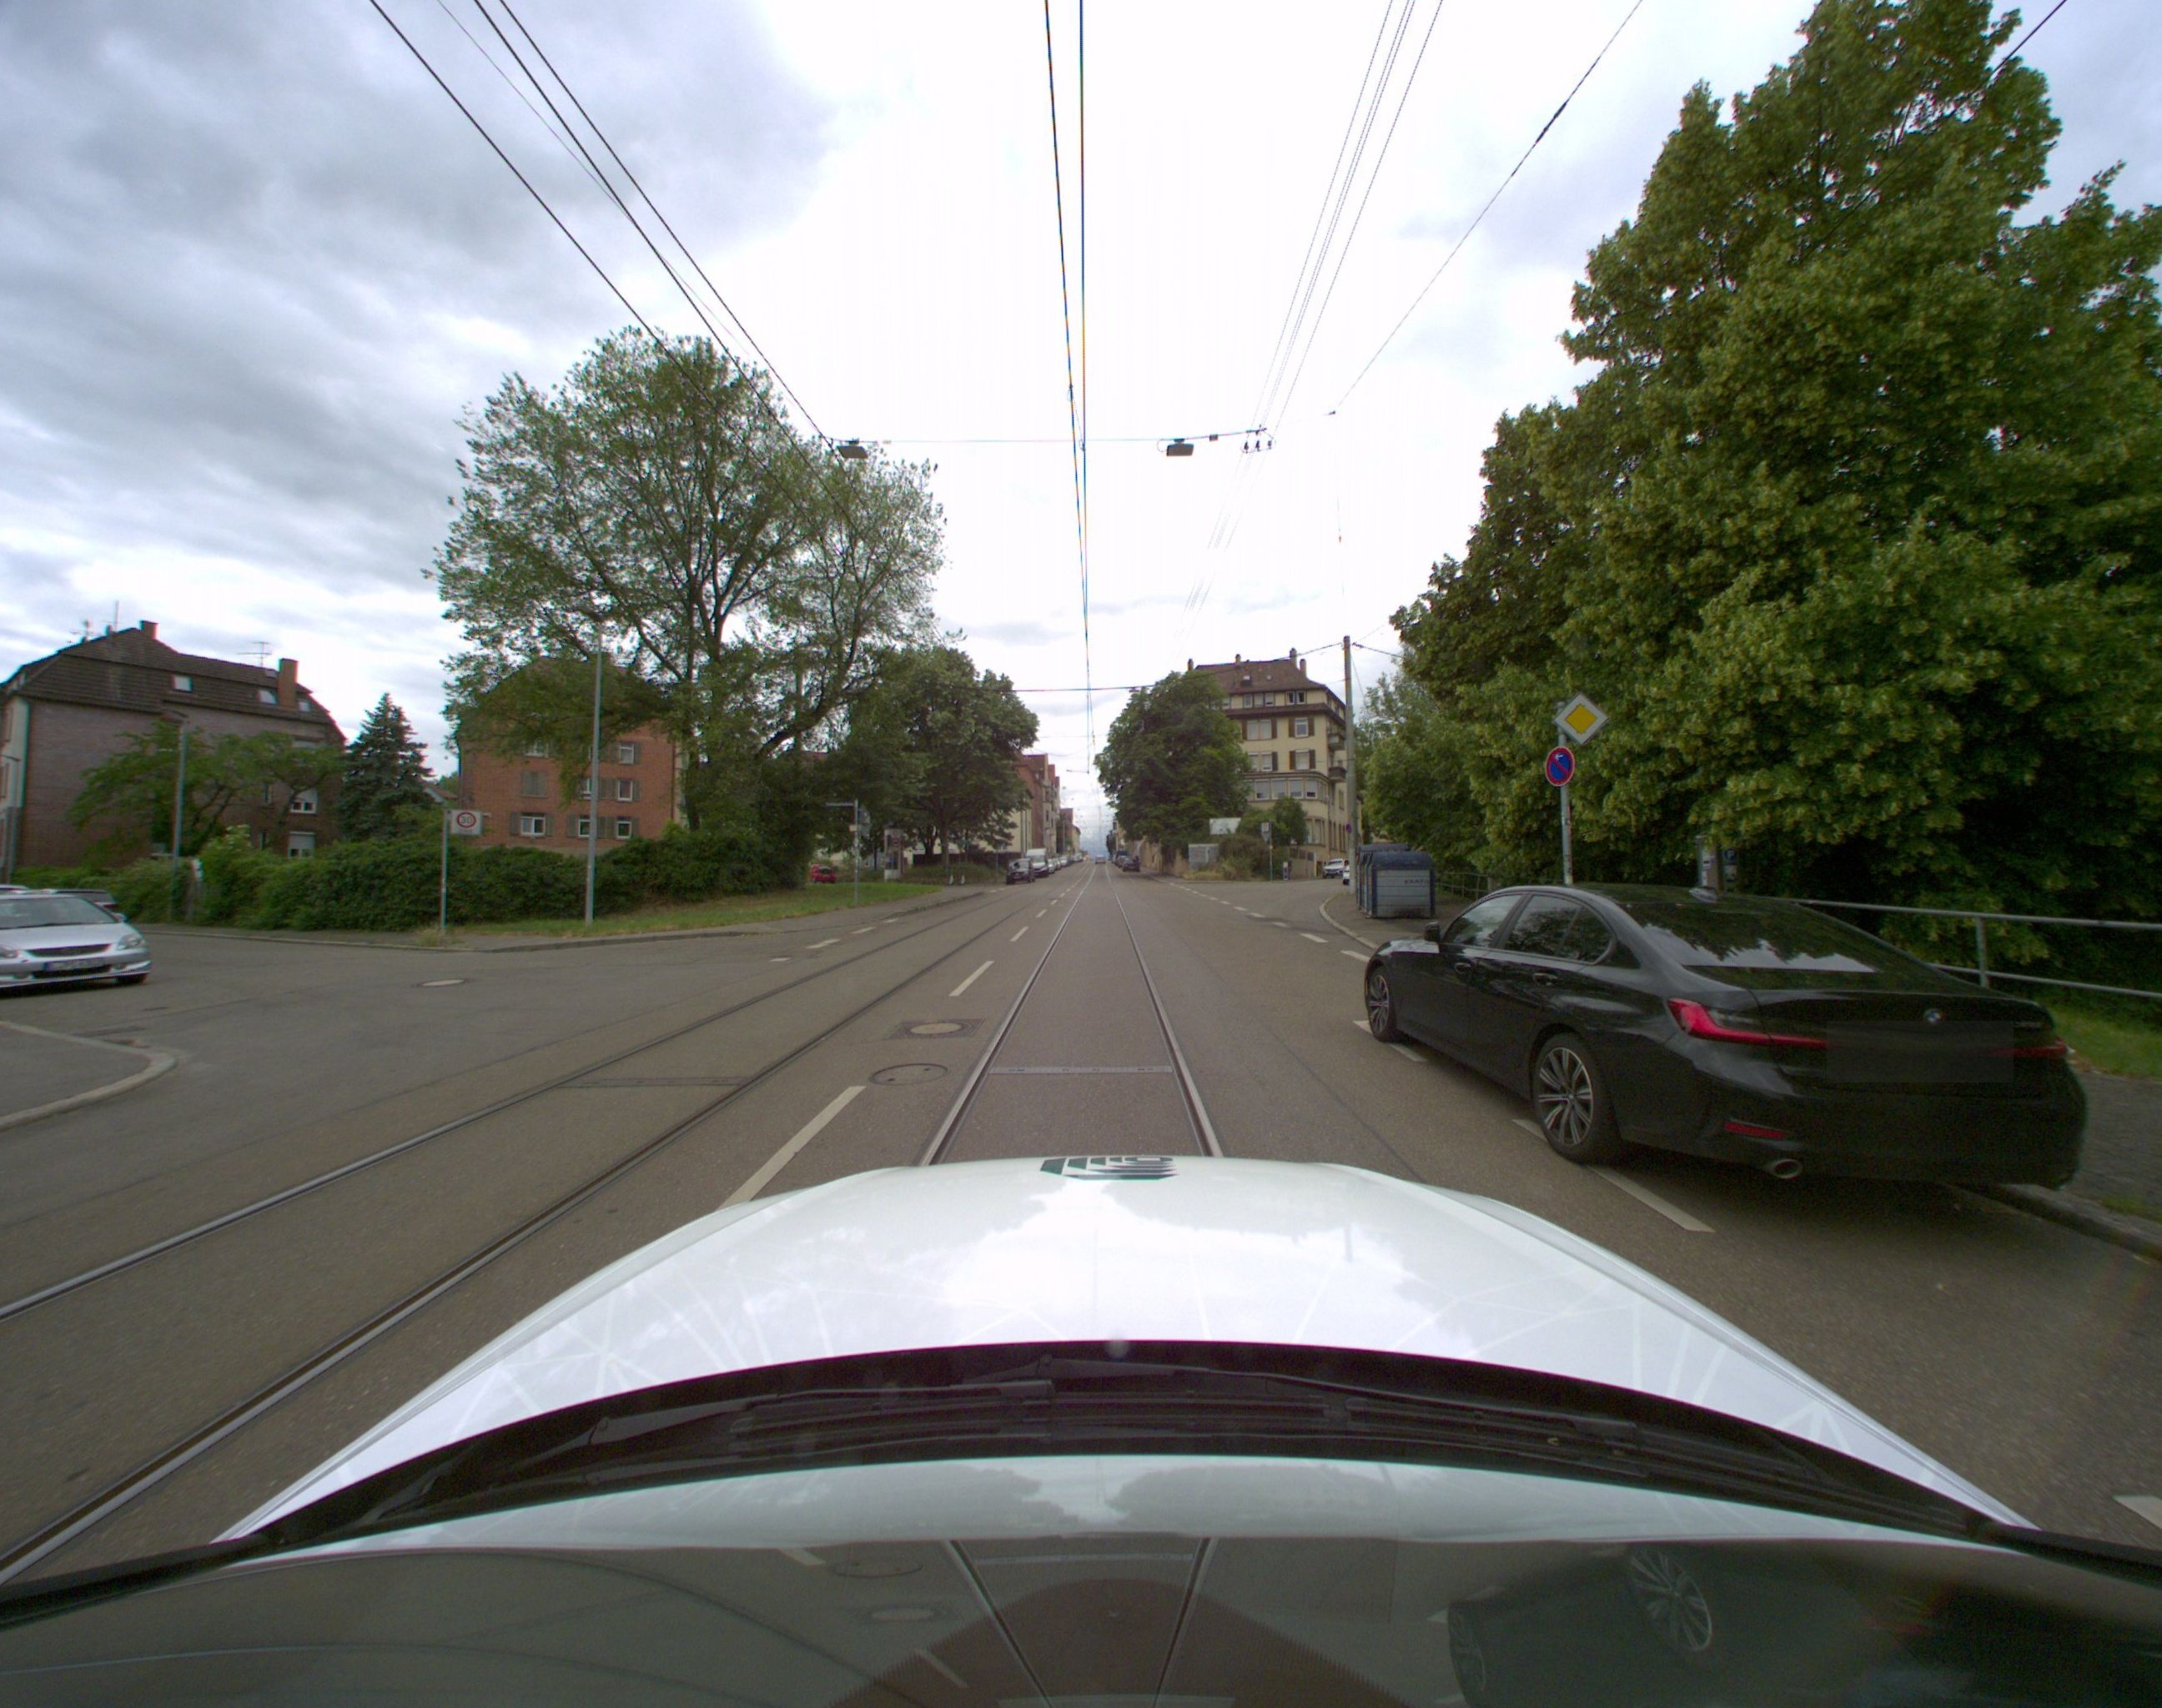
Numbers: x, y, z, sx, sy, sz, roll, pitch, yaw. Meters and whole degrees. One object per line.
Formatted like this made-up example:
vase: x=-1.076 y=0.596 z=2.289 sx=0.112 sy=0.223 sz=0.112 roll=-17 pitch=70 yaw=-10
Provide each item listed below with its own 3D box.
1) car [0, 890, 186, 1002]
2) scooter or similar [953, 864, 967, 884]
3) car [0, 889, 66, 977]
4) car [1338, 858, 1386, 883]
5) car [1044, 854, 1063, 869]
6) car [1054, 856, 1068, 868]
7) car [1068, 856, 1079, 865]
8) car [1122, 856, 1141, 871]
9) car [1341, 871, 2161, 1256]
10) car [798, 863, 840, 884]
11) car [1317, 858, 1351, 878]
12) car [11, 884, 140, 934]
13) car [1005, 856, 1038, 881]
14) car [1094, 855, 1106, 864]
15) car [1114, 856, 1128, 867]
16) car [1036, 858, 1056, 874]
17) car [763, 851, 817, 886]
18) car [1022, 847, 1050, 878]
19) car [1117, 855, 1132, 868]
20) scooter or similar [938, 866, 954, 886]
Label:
car: x=-15.806 y=1.296 z=12.442 sx=3.949 sy=1.418 sz=1.902 roll=-1 pitch=-1 yaw=27
scooter or similar: x=-8.105 y=1.348 z=54.588 sx=0.688 sy=1.339 sz=1.640 roll=0 pitch=-1 yaw=2
car: x=-20.972 y=1.442 z=15.048 sx=3.949 sy=1.495 sz=2.012 roll=-1 pitch=-1 yaw=27
car: x=17.139 y=1.001 z=49.527 sx=1.974 sy=1.479 sz=4.491 roll=-1 pitch=-1 yaw=30
car: x=-3.433 y=0.973 z=101.424 sx=1.985 sy=1.812 sz=4.315 roll=0 pitch=-1 yaw=3
car: x=-2.866 y=1.152 z=118.010 sx=1.917 sy=1.601 sz=4.001 roll=0 pitch=-1 yaw=2
car: x=-1.512 y=1.234 z=157.533 sx=1.986 sy=1.601 sz=4.000 roll=0 pitch=-1 yaw=1
car: x=5.439 y=1.061 z=88.376 sx=1.985 sy=1.530 sz=4.314 roll=0 pitch=-1 yaw=2
car: x=3.450 y=0.877 z=5.651 sx=1.821 sy=1.430 sz=4.848 roll=1 pitch=-1 yaw=1
car: x=-20.124 y=1.485 z=62.506 sx=2.009 sy=1.596 sz=3.956 roll=1 pitch=-1 yaw=-36
car: x=20.901 y=1.168 z=67.163 sx=1.975 sy=1.552 sz=4.023 roll=-1 pitch=-1 yaw=26
car: x=-33.160 y=1.756 z=26.858 sx=3.949 sy=1.495 sz=2.012 roll=-1 pitch=-1 yaw=29
car: x=-4.325 y=1.050 z=59.682 sx=1.985 sy=1.808 sz=4.002 roll=0 pitch=-1 yaw=3
car: x=3.388 y=1.033 z=143.977 sx=1.986 sy=1.498 sz=4.312 roll=0 pitch=-1 yaw=1
car: x=5.992 y=1.150 z=121.759 sx=1.986 sy=1.651 sz=4.001 roll=-1 pitch=-1 yaw=2
car: x=-3.613 y=1.277 z=84.486 sx=1.988 sy=1.600 sz=4.310 roll=0 pitch=-1 yaw=-1
car: x=-14.375 y=0.707 z=40.127 sx=2.004 sy=1.662 sz=3.965 roll=0 pitch=-1 yaw=-27
car: x=-4.038 y=0.777 z=74.179 sx=2.224 sy=2.764 sz=5.797 roll=0 pitch=-1 yaw=-1
car: x=5.854 y=1.049 z=110.086 sx=1.986 sy=1.717 sz=4.001 roll=-1 pitch=-1 yaw=2
scooter or similar: x=-9.054 y=1.465 z=54.633 sx=0.688 sy=1.339 sz=1.640 roll=0 pitch=-1 yaw=2
